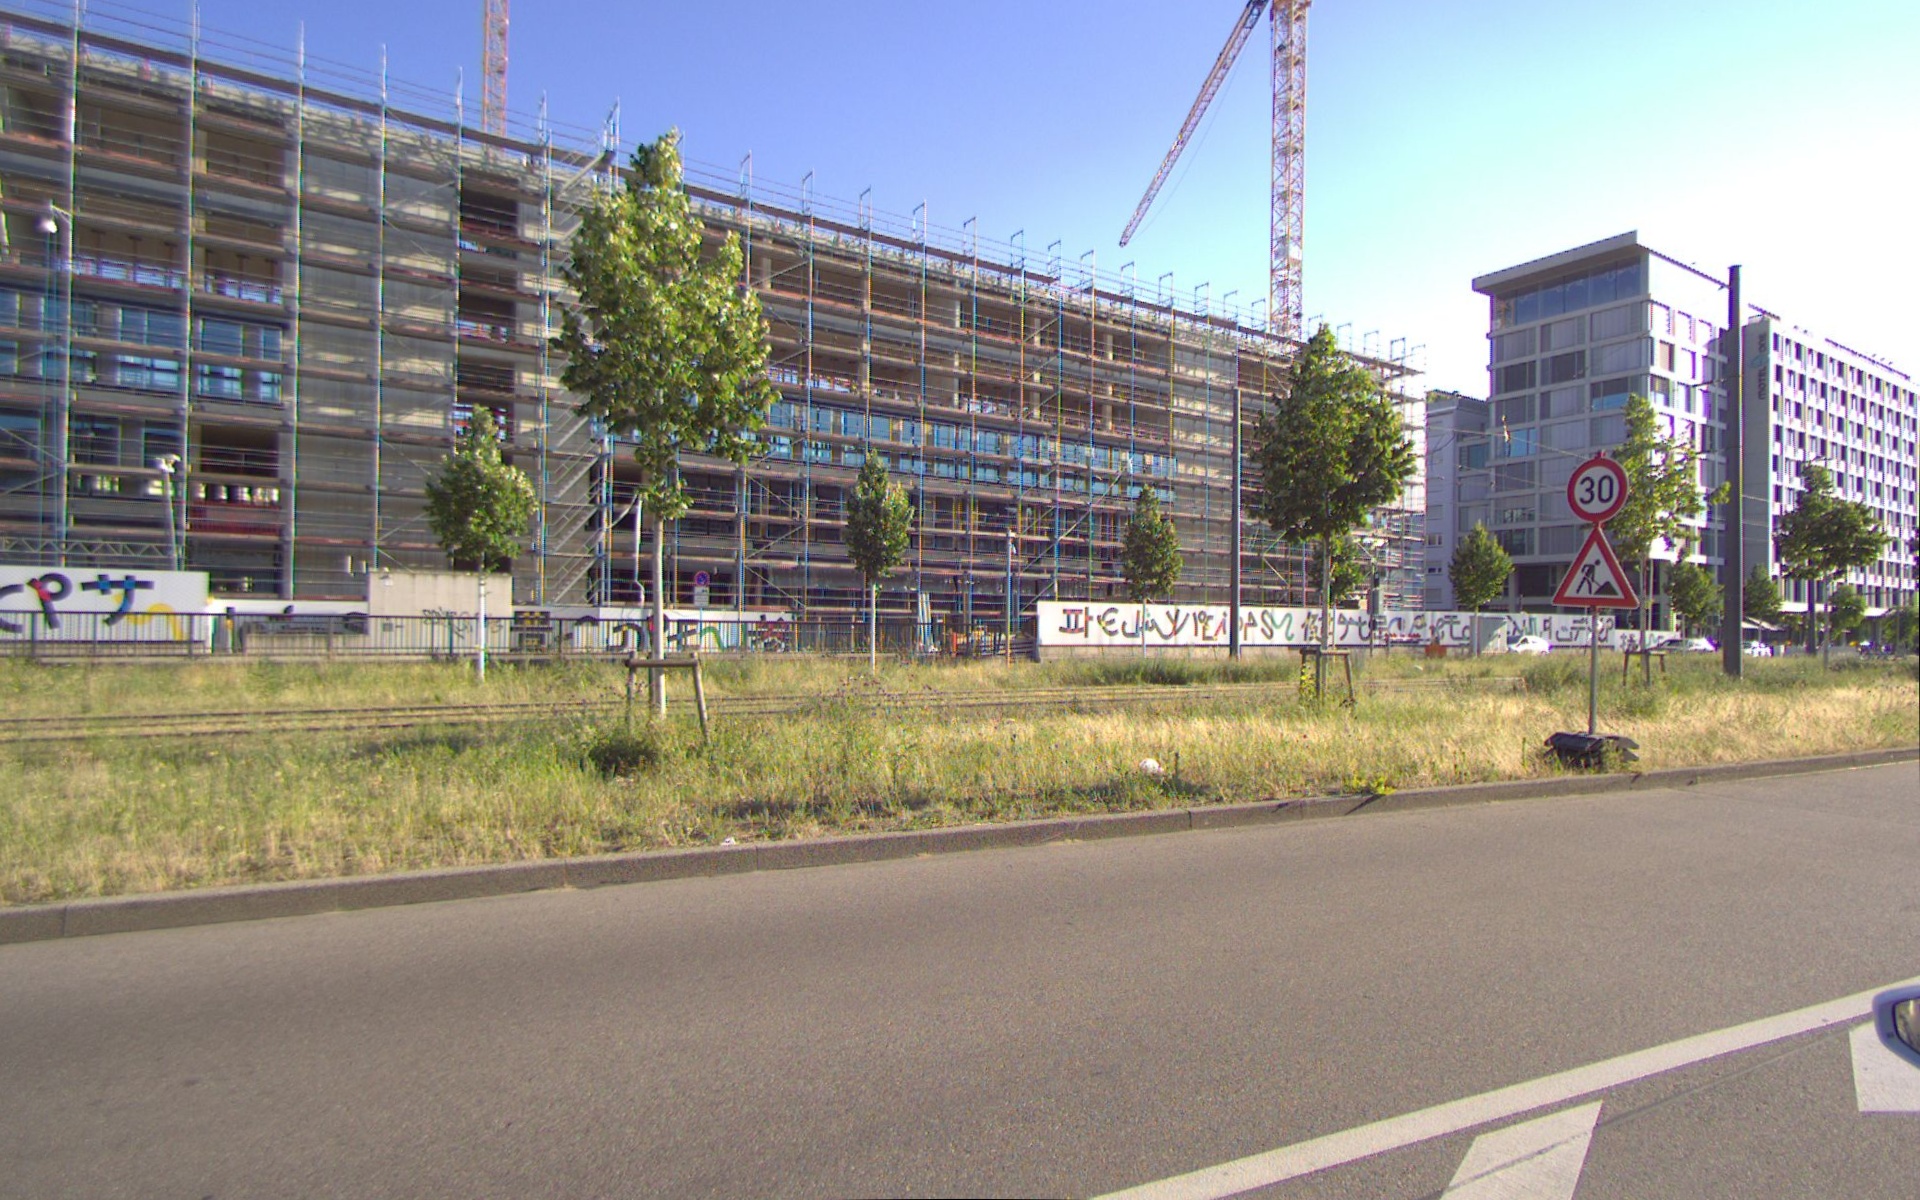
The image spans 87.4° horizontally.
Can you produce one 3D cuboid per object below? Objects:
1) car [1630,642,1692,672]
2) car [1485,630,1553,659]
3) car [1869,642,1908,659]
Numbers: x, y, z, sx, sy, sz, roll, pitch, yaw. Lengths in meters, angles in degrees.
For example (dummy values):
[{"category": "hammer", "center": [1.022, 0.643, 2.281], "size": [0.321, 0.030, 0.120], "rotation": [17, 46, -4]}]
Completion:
[{"category": "car", "center": [42.590, 3.428, 60.984], "size": [3.597, 1.706, 1.781], "rotation": [2, 0, -31]}, {"category": "car", "center": [30.007, 2.383, 53.944], "size": [3.543, 1.461, 1.699], "rotation": [2, 0, -32]}, {"category": "car", "center": [84.004, 4.583, 90.872], "size": [3.543, 1.461, 1.699], "rotation": [2, 0, -32]}]
